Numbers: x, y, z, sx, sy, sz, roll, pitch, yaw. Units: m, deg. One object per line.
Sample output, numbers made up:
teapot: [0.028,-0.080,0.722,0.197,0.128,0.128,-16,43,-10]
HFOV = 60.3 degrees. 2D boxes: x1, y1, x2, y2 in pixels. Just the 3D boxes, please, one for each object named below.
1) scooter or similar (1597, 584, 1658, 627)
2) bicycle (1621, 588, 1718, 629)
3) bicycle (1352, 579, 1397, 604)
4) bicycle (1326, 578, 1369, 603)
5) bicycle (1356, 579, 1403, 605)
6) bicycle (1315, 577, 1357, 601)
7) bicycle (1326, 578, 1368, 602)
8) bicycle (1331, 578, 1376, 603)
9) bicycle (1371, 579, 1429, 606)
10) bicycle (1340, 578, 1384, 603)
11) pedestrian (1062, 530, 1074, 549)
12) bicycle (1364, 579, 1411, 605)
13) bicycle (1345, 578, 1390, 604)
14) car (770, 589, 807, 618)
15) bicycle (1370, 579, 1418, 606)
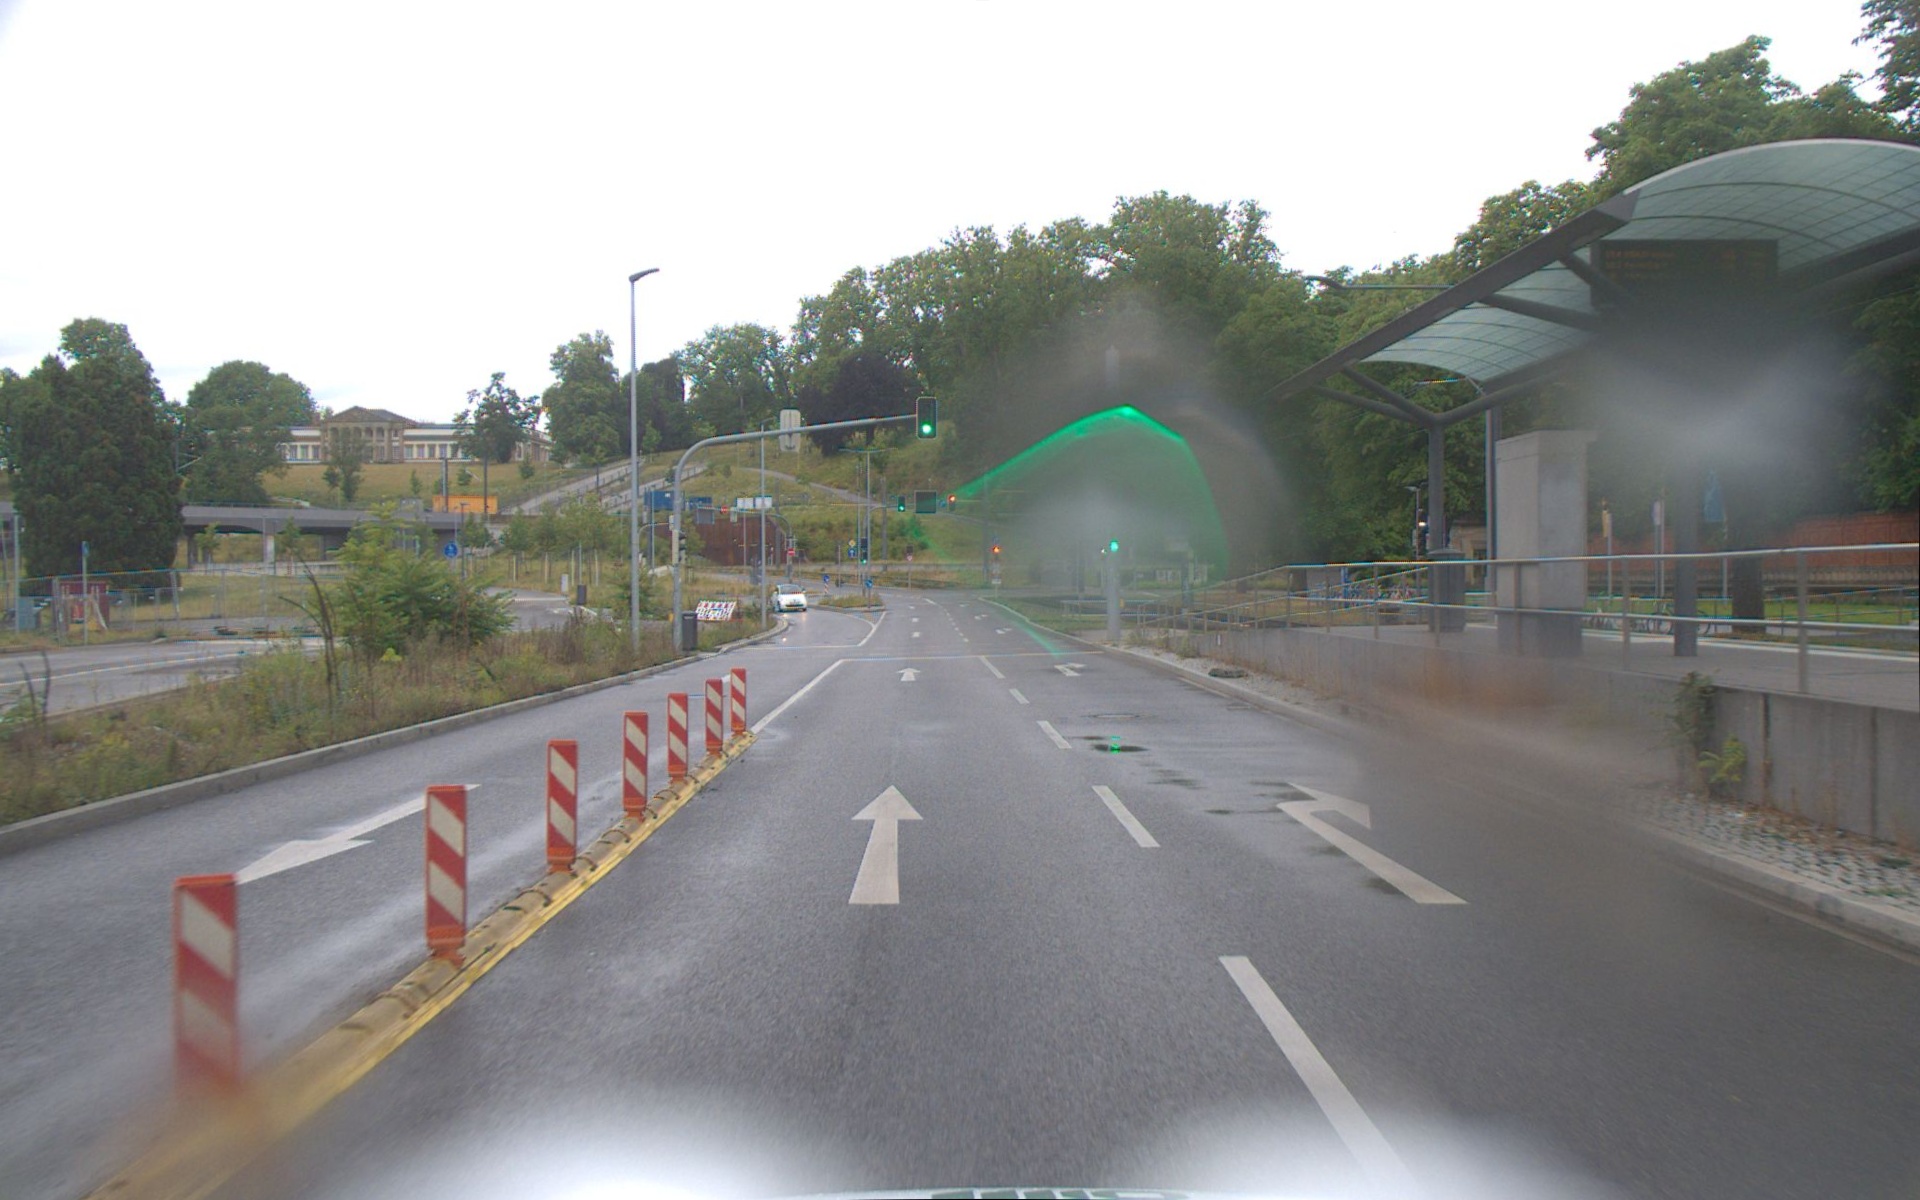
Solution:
scooter or similar: [18.733,0.145,46.410,1.513,1.156,0.431,-2,1,-3]
bicycle: [18.334,0.208,42.778,2.275,0.974,0.570,-2,1,-3]
bicycle: [17.818,-0.372,71.099,1.774,1.050,0.652,-2,1,-4]
bicycle: [17.479,-0.443,74.653,1.774,1.050,0.652,-2,1,-4]
bicycle: [17.829,-0.360,70.255,1.810,1.050,0.652,-2,1,-4]
bicycle: [17.567,-0.514,77.341,1.774,1.050,0.652,-2,1,-4]
bicycle: [17.668,-0.470,75.539,1.774,1.050,0.652,-2,1,-4]
bicycle: [17.600,-0.439,74.004,1.798,1.050,0.652,-2,1,-4]
bicycle: [17.992,-0.312,67.641,2.179,1.050,0.689,-2,1,-4]
bicycle: [17.835,-0.426,73.348,1.774,1.050,0.652,-2,1,-4]
pedestrian: [10.570,-5.916,161.470,0.939,1.812,1.121,1,2,-6]
bicycle: [17.946,-0.345,69.411,1.774,1.050,0.652,-2,1,-4]
bicycle: [17.669,-0.392,71.796,1.774,1.052,0.652,-2,1,-4]
car: [-9.831,0.199,94.670,1.560,1.517,3.700,-2,0,-14]
bicycle: [17.974,-0.329,68.525,1.774,1.050,0.652,-2,1,-4]
